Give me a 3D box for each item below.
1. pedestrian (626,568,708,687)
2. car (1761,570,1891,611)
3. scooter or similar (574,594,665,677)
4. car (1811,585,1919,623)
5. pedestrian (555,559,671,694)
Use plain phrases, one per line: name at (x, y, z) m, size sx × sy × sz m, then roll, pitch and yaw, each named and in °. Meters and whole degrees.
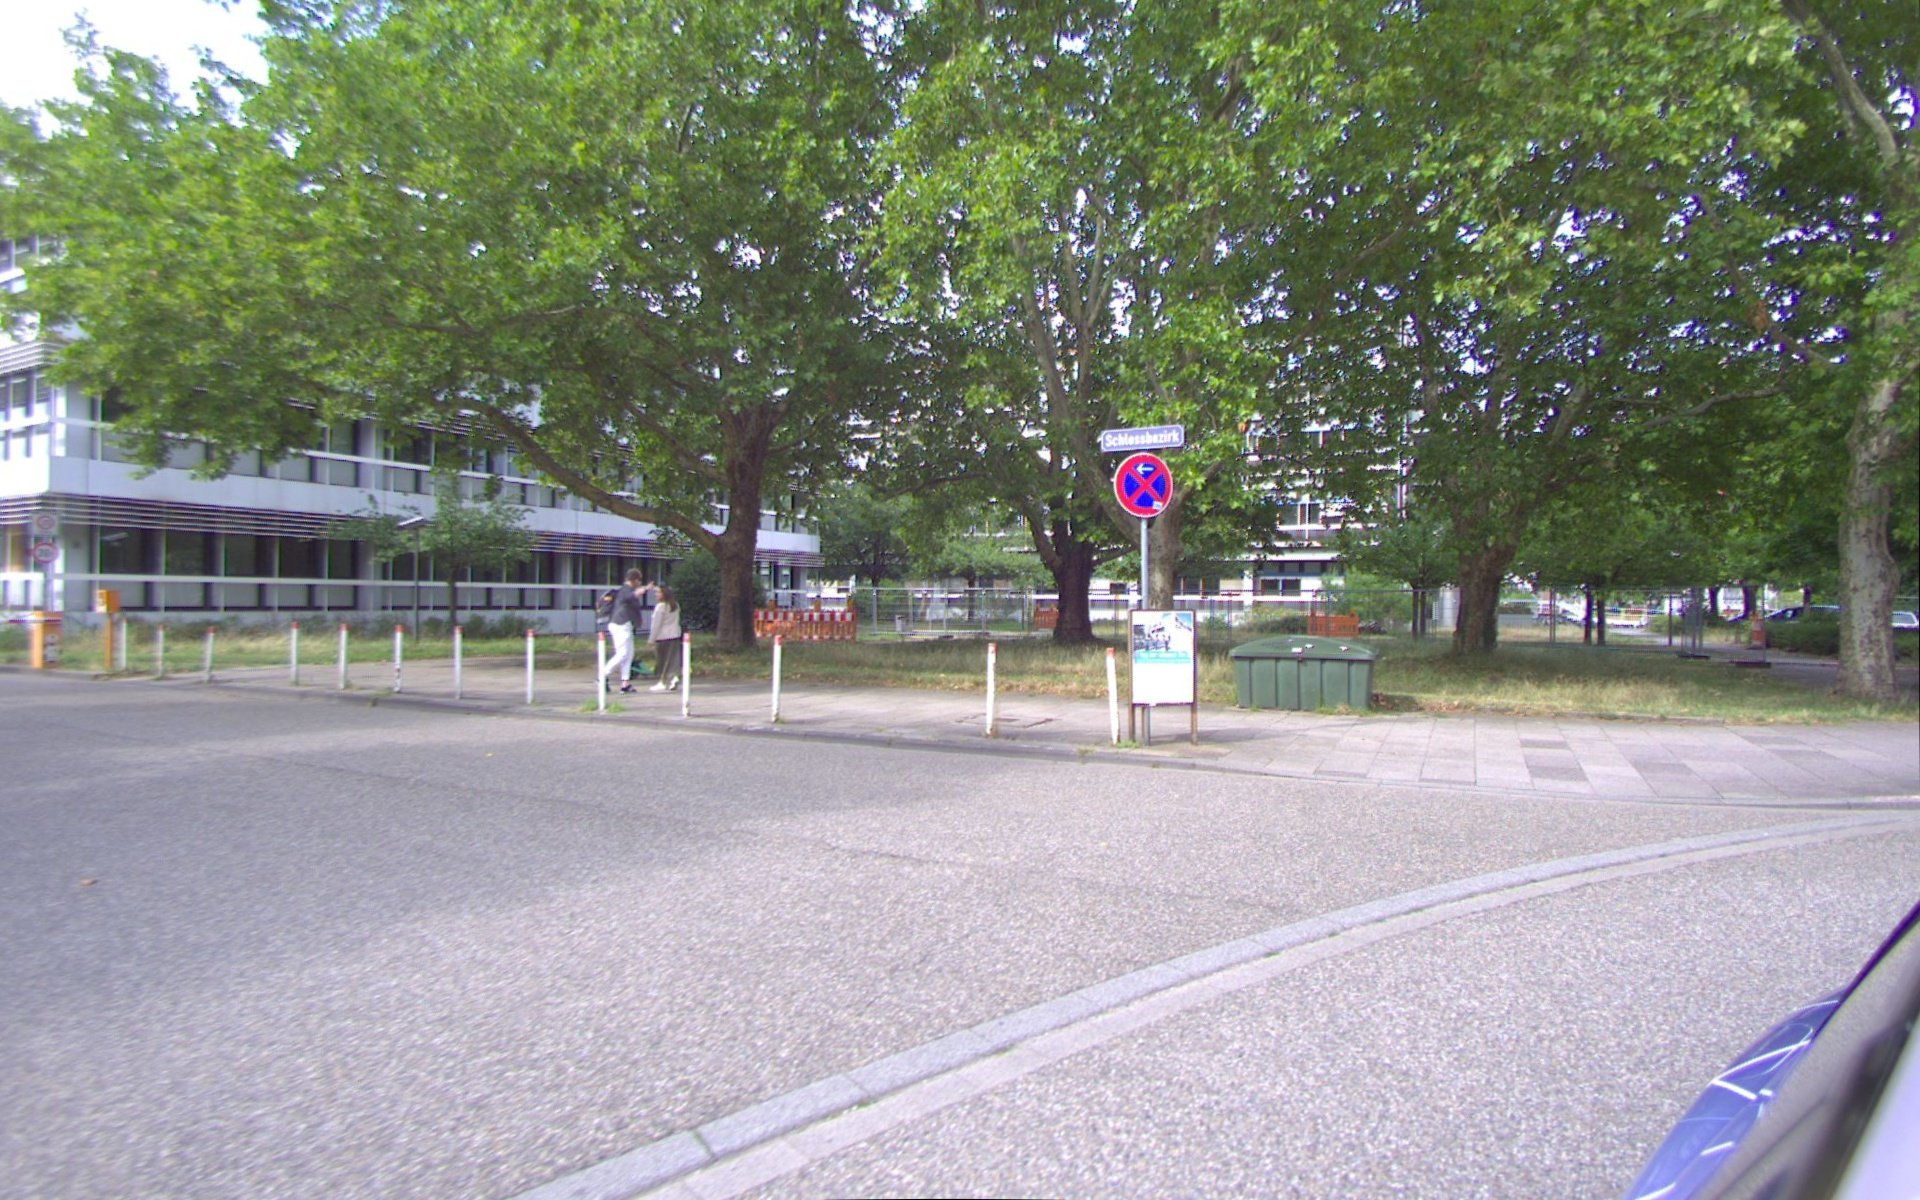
pedestrian at (-4.265, 0.393, 14.736) m, size 0.881 × 1.662 × 0.852 m, roll 3°, pitch -2°, yaw -34°
car at (44.879, -0.501, 52.600) m, size 4.724 × 2.039 × 1.982 m, roll 1°, pitch -2°, yaw 26°
scooter or similar at (-5.551, 0.577, 16.567) m, size 0.564 × 1.285 × 1.442 m, roll 1°, pitch -2°, yaw 23°
car at (41.452, 0.175, 46.078) m, size 3.750 × 1.601 × 1.982 m, roll 1°, pitch -1°, yaw 26°
pedestrian at (-4.771, 0.363, 14.002) m, size 1.231 × 1.764 × 0.963 m, roll 1°, pitch -2°, yaw -1°
